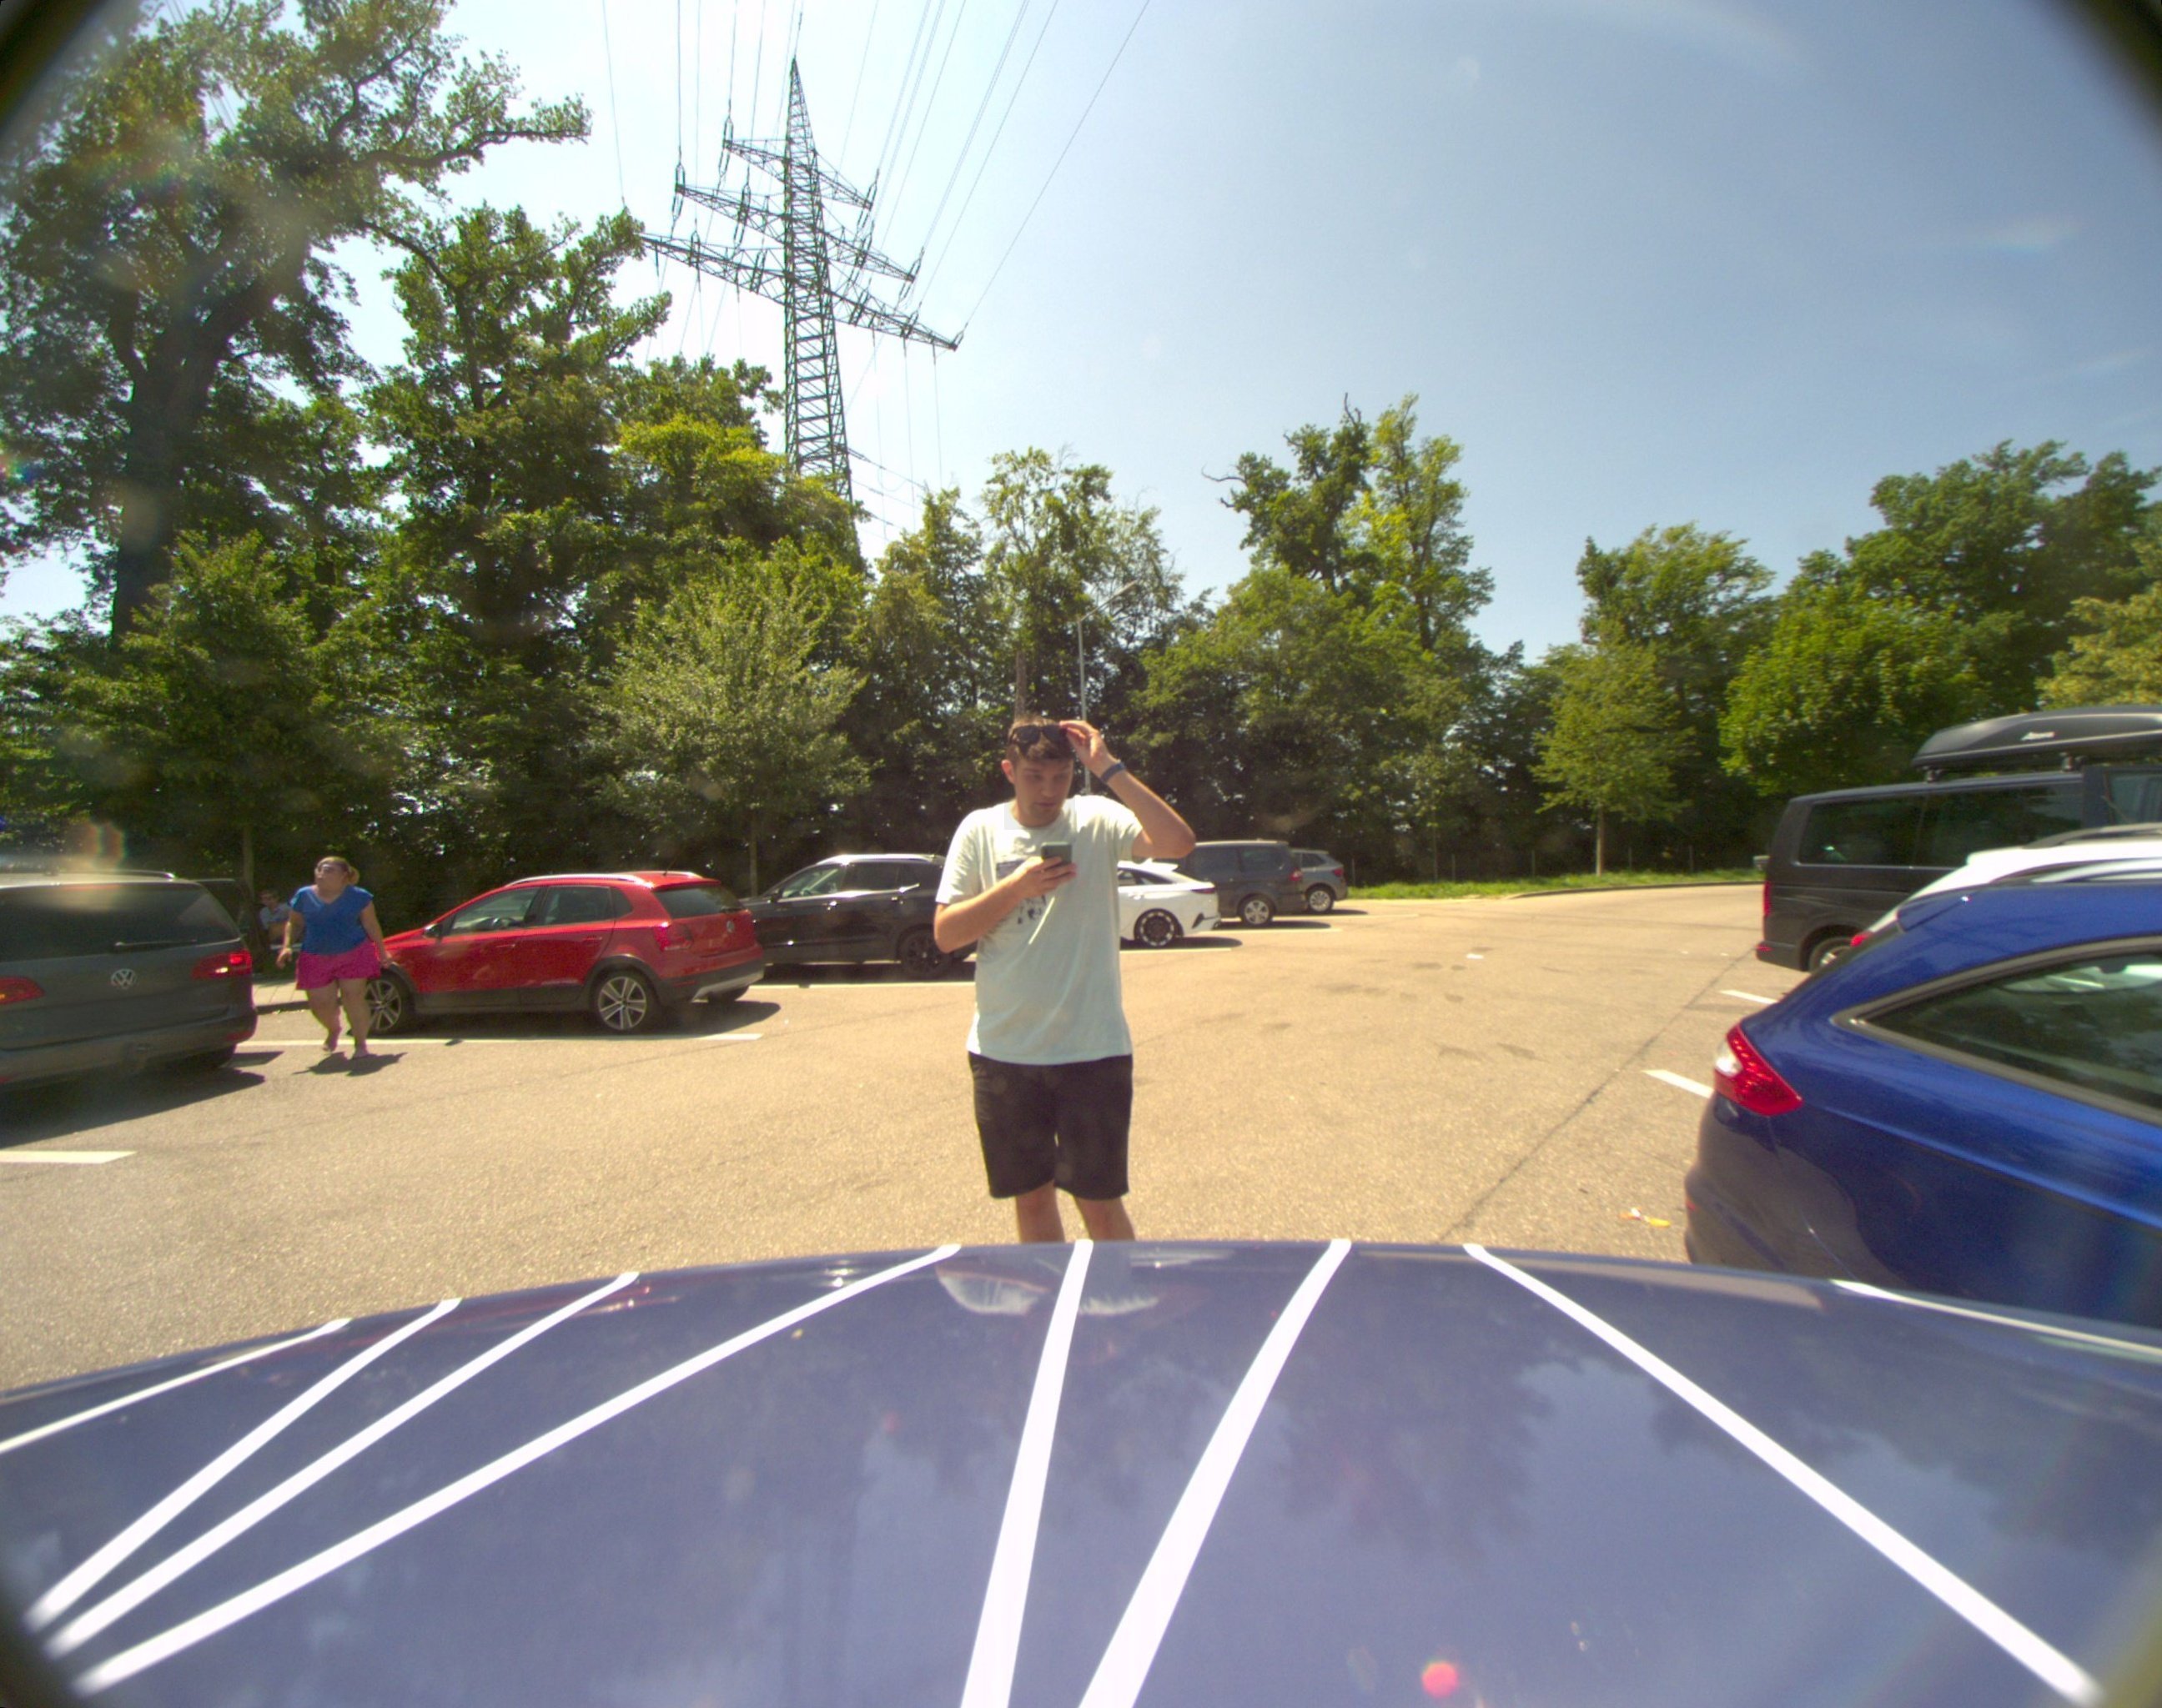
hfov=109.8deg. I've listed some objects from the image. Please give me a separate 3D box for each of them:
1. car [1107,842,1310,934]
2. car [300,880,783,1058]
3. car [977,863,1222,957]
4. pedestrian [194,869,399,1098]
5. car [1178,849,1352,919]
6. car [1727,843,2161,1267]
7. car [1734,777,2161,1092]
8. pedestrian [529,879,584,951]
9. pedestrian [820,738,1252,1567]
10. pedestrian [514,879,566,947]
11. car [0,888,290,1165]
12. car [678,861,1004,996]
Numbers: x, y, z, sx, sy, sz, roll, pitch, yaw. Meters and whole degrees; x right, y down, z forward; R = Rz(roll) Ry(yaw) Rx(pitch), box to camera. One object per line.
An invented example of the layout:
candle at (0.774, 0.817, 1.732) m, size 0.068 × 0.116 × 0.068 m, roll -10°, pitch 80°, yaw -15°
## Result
car at (2.580, 0.668, 15.454) m, size 3.818 × 1.714 × 1.722 m, roll -1°, pitch 1°, yaw 12°
car at (-5.246, 1.067, 7.652) m, size 3.785 × 1.457 × 1.722 m, roll -1°, pitch 1°, yaw 9°
car at (0.357, 0.900, 12.728) m, size 3.819 × 1.377 × 1.722 m, roll -1°, pitch 1°, yaw 6°
pedestrian at (-6.362, 0.981, 6.234) m, size 0.921 × 1.672 × 0.732 m, roll -3°, pitch 1°, yaw -28°
car at (4.332, 0.690, 18.157) m, size 3.818 × 1.530 × 1.722 m, roll -1°, pitch 1°, yaw 12°
car at (4.867, 0.724, 2.286) m, size 1.741 × 1.524 × 4.642 m, roll -3°, pitch -1°, yaw -2°
car at (7.314, 0.436, 4.915) m, size 1.961 × 1.858 × 4.642 m, roll -3°, pitch -1°, yaw -3°
pedestrian at (-10.015, 1.140, 14.510) m, size 0.782 × 1.287 × 0.670 m, roll -1°, pitch 2°, yaw 45°
pedestrian at (-0.092, 0.673, 2.001) m, size 0.890 × 1.831 × 0.622 m, roll -2°, pitch 1°, yaw 1°
pedestrian at (-10.912, 1.166, 15.312) m, size 0.782 × 1.287 × 0.670 m, roll -1°, pitch 2°, yaw 45°
car at (-8.298, 1.107, 5.442) m, size 3.985 × 1.572 × 1.749 m, roll -1°, pitch 1°, yaw 12°
car at (-3.074, 0.937, 10.262) m, size 3.787 × 1.564 × 1.721 m, roll -1°, pitch 1°, yaw 2°
